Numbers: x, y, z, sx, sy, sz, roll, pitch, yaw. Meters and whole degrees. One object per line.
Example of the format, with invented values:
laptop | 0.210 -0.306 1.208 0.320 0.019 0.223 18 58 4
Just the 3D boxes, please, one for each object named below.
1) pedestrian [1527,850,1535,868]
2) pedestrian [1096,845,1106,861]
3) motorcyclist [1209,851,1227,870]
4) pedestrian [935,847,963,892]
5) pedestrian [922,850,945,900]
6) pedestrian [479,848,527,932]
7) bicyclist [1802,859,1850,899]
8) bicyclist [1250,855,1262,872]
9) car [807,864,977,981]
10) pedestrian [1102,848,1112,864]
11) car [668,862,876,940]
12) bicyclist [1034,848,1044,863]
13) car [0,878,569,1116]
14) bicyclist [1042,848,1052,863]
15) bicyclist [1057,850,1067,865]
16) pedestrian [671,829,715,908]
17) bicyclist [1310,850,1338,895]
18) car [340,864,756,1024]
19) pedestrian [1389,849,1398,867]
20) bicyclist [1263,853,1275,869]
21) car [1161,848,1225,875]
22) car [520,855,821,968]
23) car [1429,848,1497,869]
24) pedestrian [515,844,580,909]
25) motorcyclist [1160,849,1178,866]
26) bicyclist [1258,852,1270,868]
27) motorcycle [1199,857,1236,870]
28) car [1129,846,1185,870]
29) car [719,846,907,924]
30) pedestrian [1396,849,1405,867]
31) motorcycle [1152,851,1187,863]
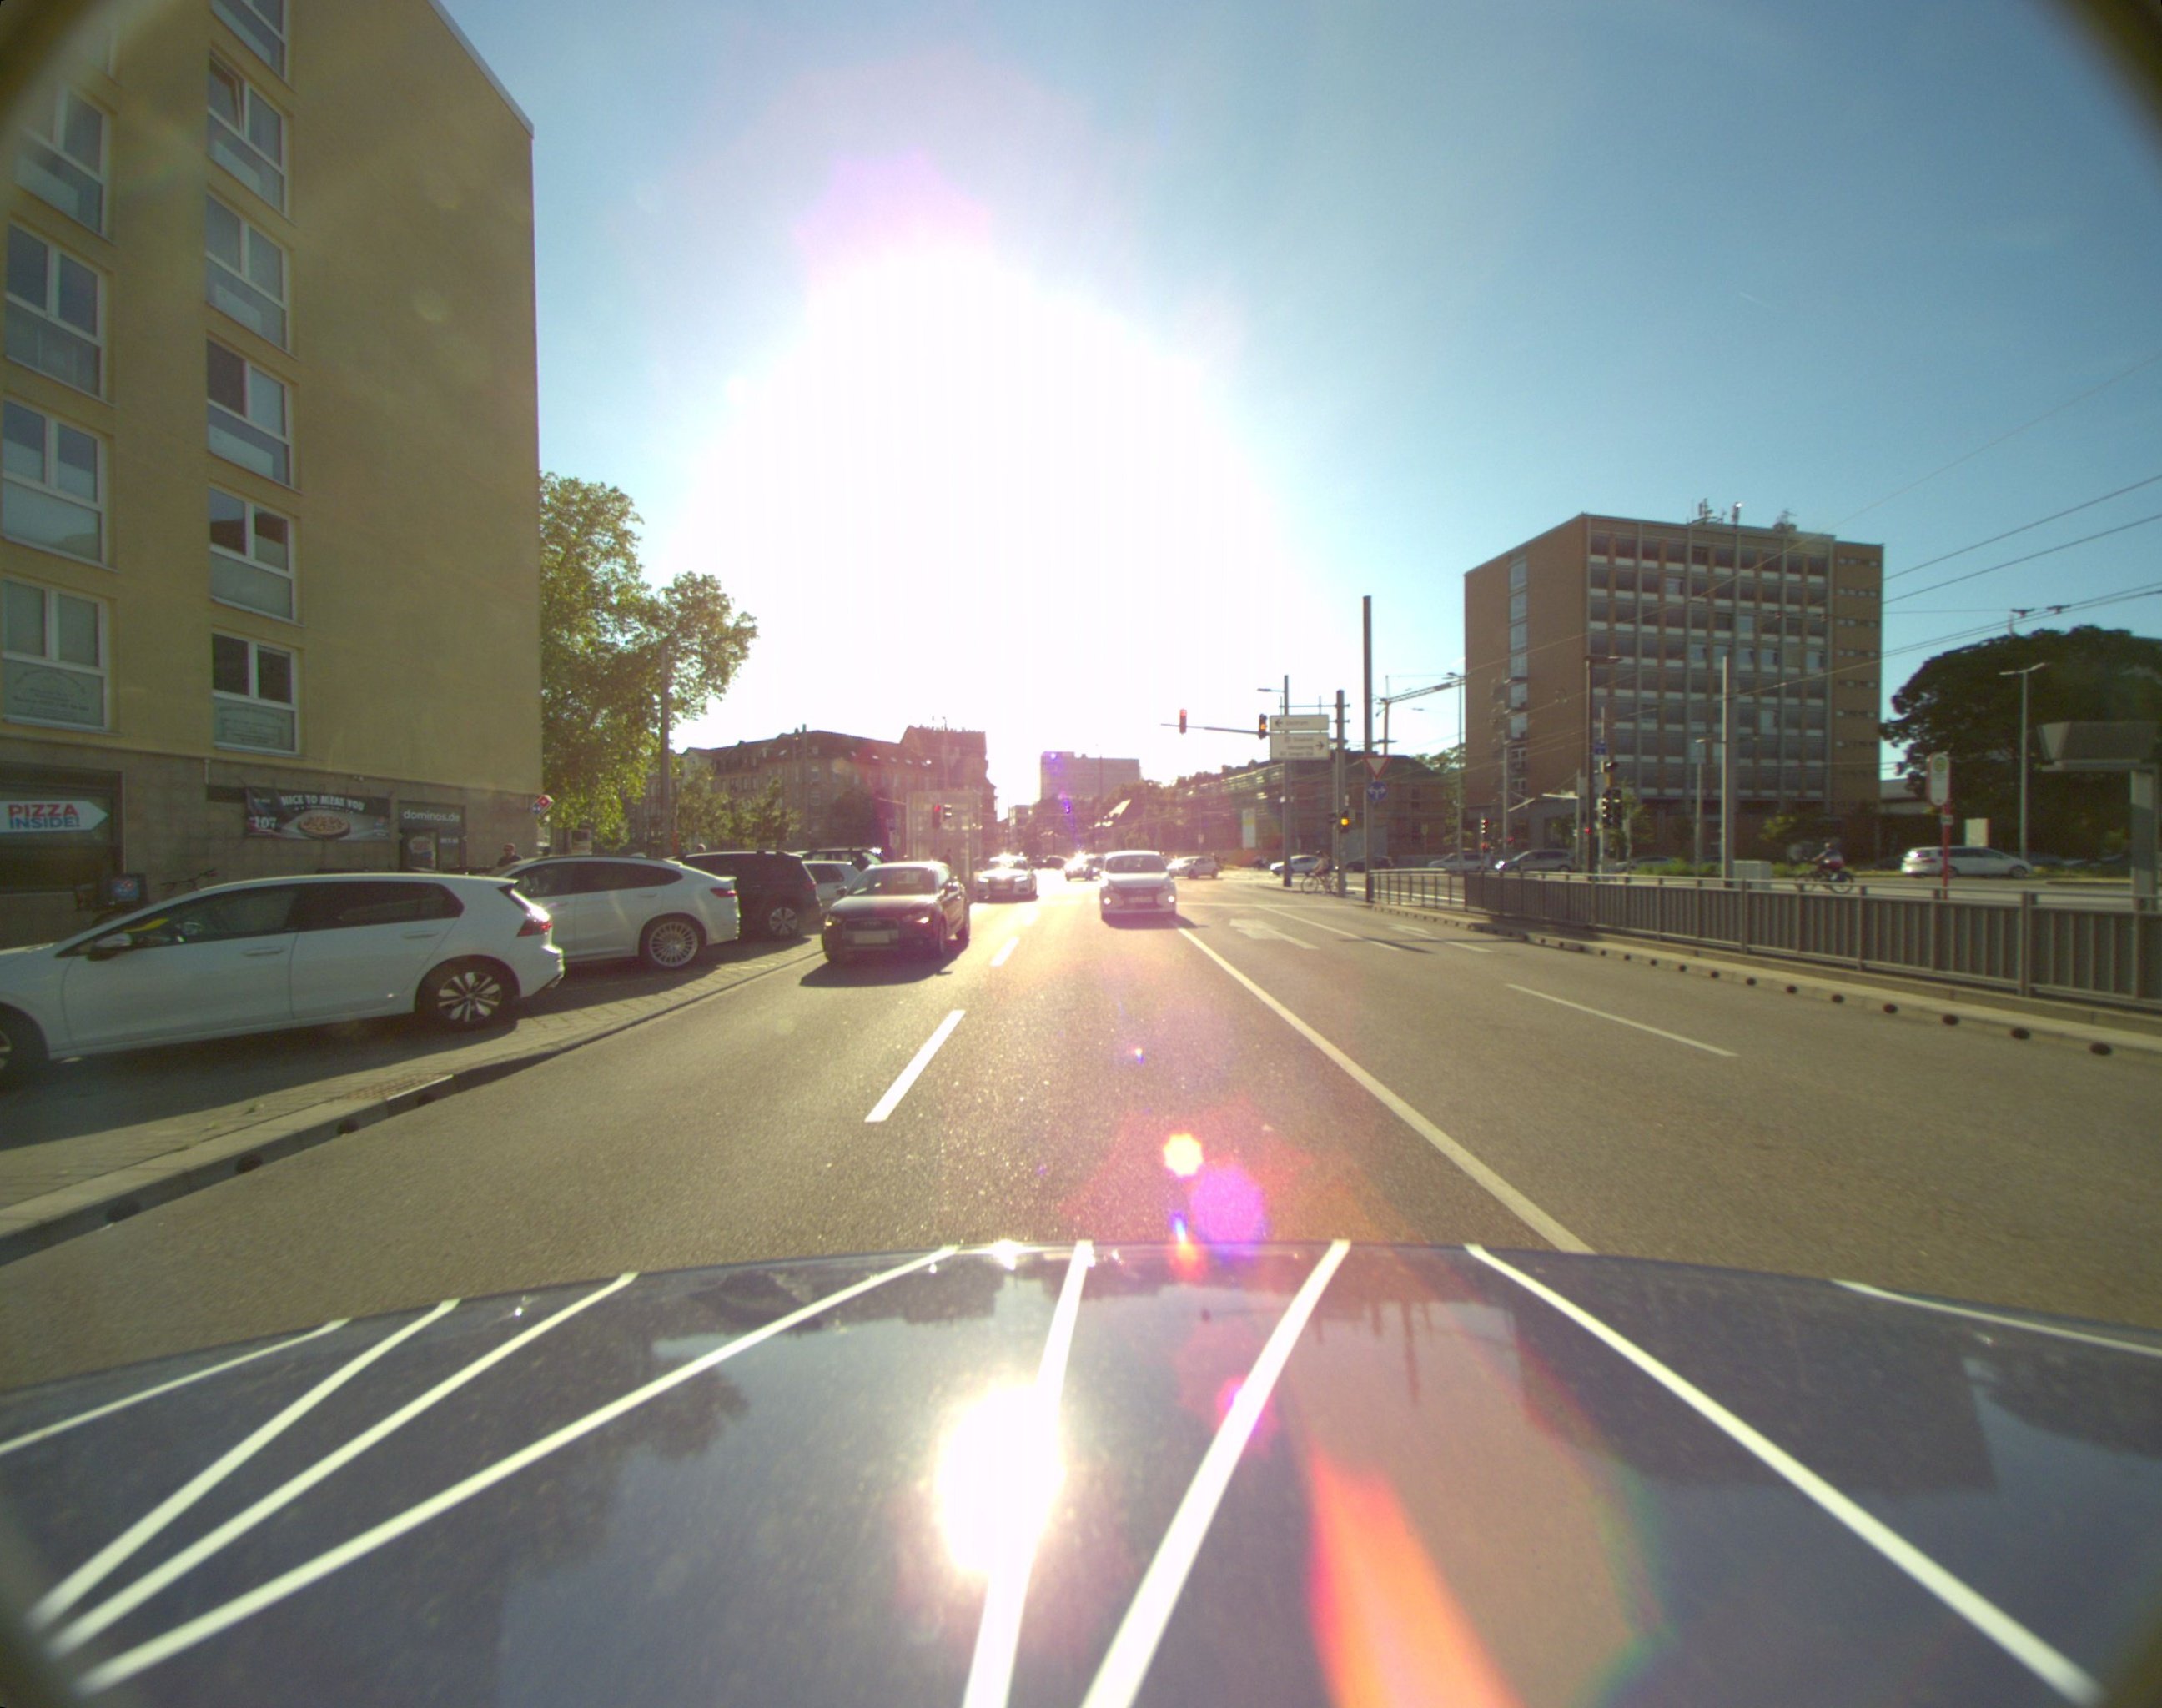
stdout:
pedestrian | 39.890 0.458 67.375 0.503 1.625 0.428 0 -2 8
pedestrian | 2.338 -0.080 88.856 0.693 1.837 0.817 2 -3 -44
motorcyclist | 12.597 0.586 69.679 1.451 1.657 1.120 0 -2 21
pedestrian | -5.172 0.589 29.671 0.796 1.718 0.868 -1 1 -31
pedestrian | -5.151 0.729 26.543 0.698 1.718 0.752 0 1 -16
pedestrian | -13.217 0.800 17.401 0.754 1.855 0.830 -1 1 -29
bicyclist | 26.277 0.866 26.809 0.816 1.337 0.901 -4 2 -13
bicyclist | 17.590 0.938 76.316 1.014 1.579 0.695 2 4 30
car | -2.811 0.949 12.156 1.694 1.380 3.831 -2 1 0
pedestrian | 3.040 0.239 89.289 0.693 1.837 0.817 2 -3 -44
car | -6.879 0.964 17.132 3.900 1.391 1.784 -3 1 -43
bicyclist | -4.657 0.171 84.524 0.973 1.559 0.649 0 -2 17
car | -7.046 1.021 6.562 4.121 1.455 1.956 -1 1 -41
bicyclist | -3.983 0.176 89.835 0.972 1.685 0.649 0 0 25
bicyclist | -2.140 0.385 85.276 0.972 1.651 0.650 0 -2 28
pedestrian | -9.314 0.334 18.236 0.755 1.855 0.696 -1 1 -41
bicyclist | 8.863 0.666 27.709 0.676 1.607 0.815 1 1 -4
car | -6.946 0.989 10.225 4.259 1.561 1.955 -2 0 -44
pedestrian | 30.616 0.354 74.495 0.620 1.730 0.667 2 3 43
bicyclist | 19.156 0.724 77.397 1.014 1.579 0.695 1 4 29
car | 7.389 0.452 49.920 4.292 1.666 1.994 -1 1 -45
car | -7.096 0.870 13.404 4.259 1.588 1.955 -2 0 -43
car | 31.049 0.369 61.867 4.696 1.673 2.004 0 -2 19
pedestrian | -16.976 0.720 24.189 1.032 2.001 1.272 0 -2 18
motorcyclist | 8.588 0.351 74.098 1.451 1.657 1.120 0 -2 21
bicyclist | 18.917 0.611 78.531 1.014 1.579 0.695 1 4 29
motorcycle | 12.515 0.889 69.700 3.225 1.187 1.120 0 -2 21
car | 5.720 0.329 57.130 4.009 1.673 1.995 3 -3 -42
car | -7.061 0.750 20.281 4.259 1.803 1.955 -2 0 -41
pedestrian | 31.127 0.359 74.067 0.732 1.730 0.622 0 2 11
motorcycle | 8.606 0.304 74.089 3.225 1.187 1.120 0 -2 21
